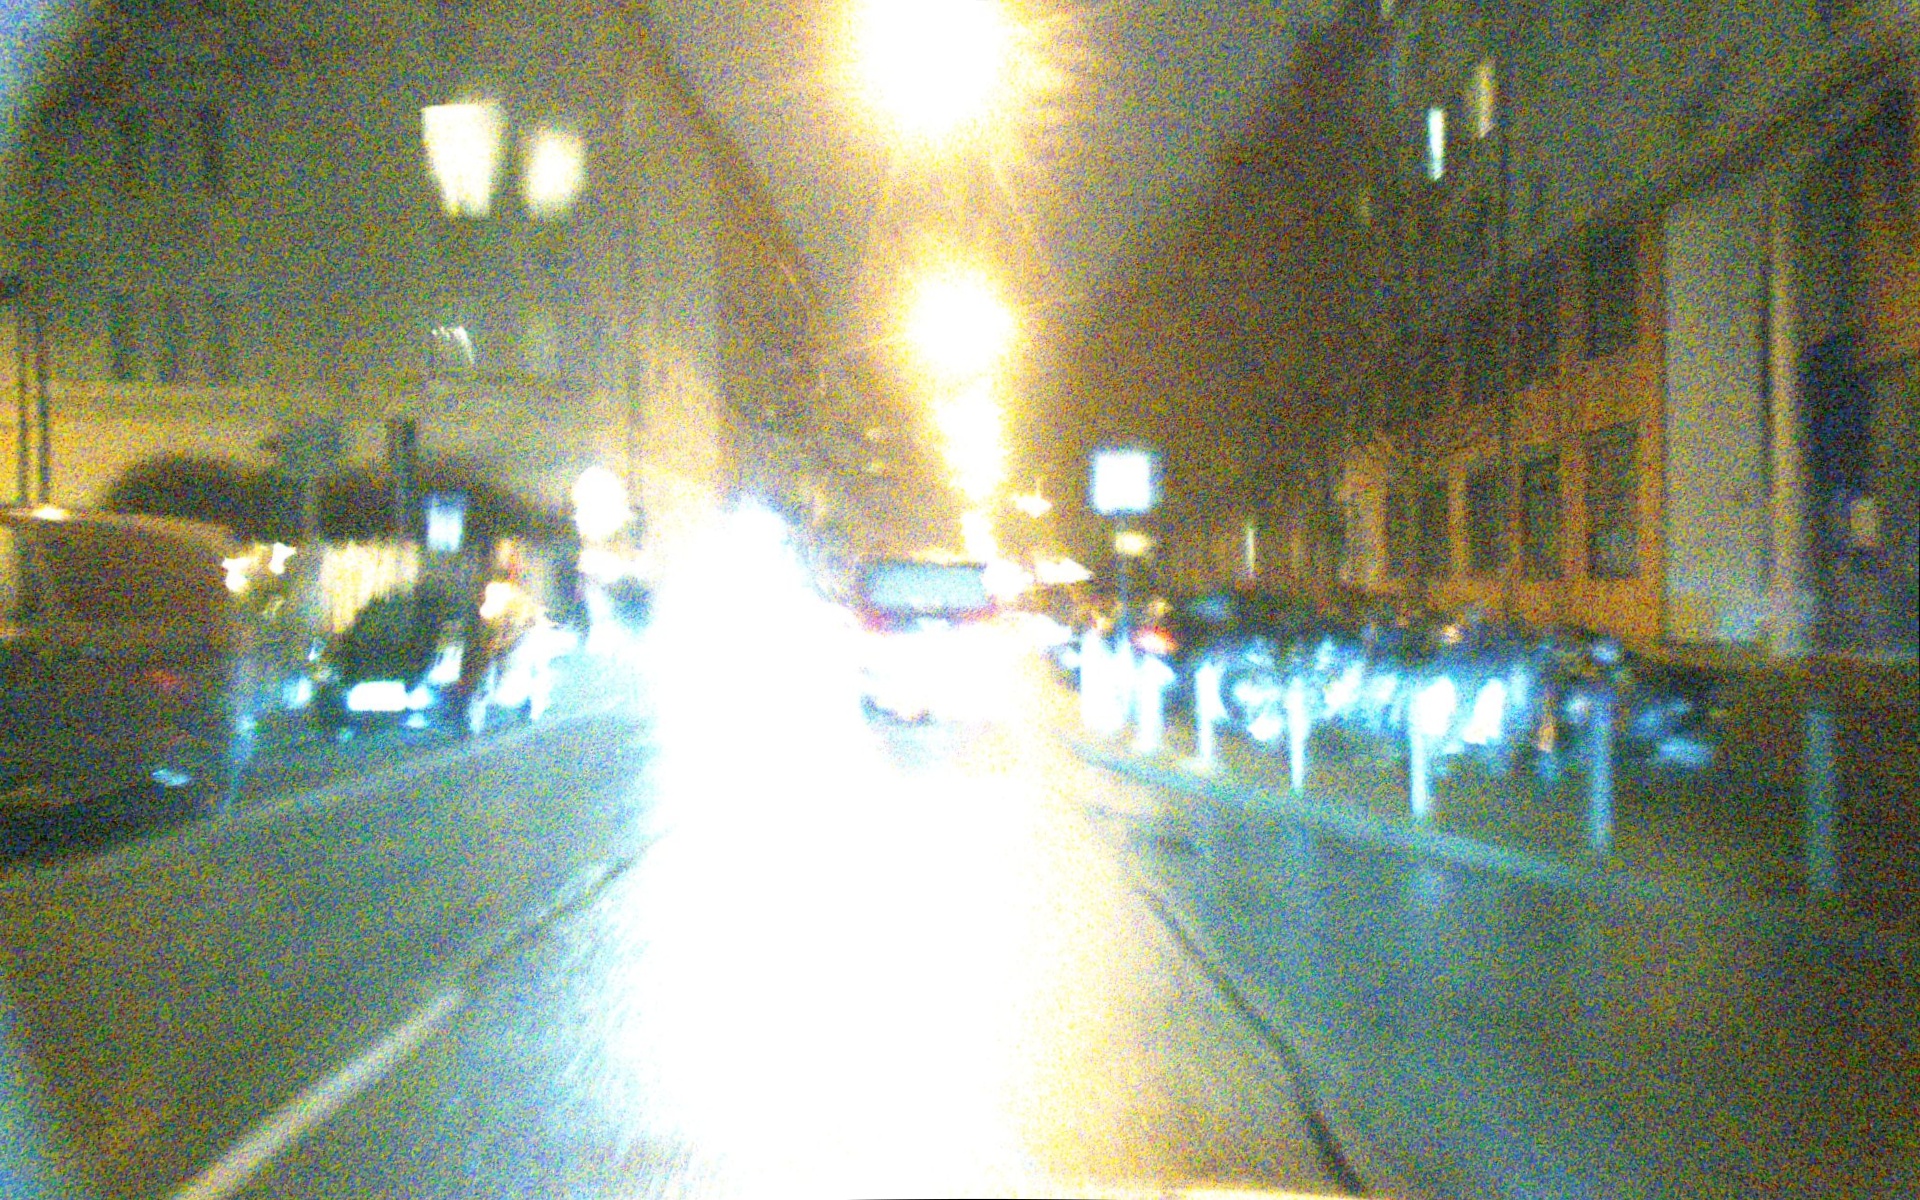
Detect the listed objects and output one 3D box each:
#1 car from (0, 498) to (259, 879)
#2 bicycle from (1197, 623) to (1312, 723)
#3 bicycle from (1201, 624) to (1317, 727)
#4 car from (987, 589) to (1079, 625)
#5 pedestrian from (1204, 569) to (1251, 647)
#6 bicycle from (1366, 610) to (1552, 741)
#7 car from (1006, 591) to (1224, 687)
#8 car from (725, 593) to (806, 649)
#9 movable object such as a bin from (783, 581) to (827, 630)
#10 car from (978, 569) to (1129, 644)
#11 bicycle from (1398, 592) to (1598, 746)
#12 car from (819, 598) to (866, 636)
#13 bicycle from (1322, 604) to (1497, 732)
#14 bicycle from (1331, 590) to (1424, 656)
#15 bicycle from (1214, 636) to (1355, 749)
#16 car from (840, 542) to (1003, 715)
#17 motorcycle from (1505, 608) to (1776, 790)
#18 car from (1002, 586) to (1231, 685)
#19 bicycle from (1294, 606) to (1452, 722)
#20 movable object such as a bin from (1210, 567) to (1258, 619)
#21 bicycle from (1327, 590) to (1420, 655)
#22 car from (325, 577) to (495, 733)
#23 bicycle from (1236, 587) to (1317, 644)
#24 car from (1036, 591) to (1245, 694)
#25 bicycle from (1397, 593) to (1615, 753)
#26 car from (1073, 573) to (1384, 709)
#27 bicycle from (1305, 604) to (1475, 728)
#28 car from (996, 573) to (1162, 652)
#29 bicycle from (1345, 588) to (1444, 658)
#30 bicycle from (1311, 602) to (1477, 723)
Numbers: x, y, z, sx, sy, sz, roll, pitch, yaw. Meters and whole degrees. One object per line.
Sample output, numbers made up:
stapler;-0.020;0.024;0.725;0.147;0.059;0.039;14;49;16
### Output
car;-5.638;0.440;8.624;1.828;1.878;4.827;0;0;1
bicycle;3.073;0.760;17.286;1.109;0.964;0.267;-3;0;-2
bicycle;3.077;0.775;17.021;1.109;0.991;0.249;-2;0;-2
car;3.141;0.296;71.236;3.624;1.486;1.592;-1;0;-24
pedestrian;6.717;0.205;41.585;0.822;1.867;0.946;-4;-1;-4
bicycle;4.534;0.675;15.056;1.564;1.131;0.417;-1;0;-3
car;2.764;0.694;29.663;3.503;1.639;1.702;1;0;-22
car;-5.099;0.522;43.797;1.620;1.383;4.222;1;0;0
movable object such as a bin;-4.883;0.175;52.022;1.183;1.485;1.107;2;0;2
car;3.022;0.183;52.821;4.673;2.287;1.922;-1;0;-36
bicycle;4.561;0.583;14.070;1.546;1.255;0.418;-1;0;2
car;-4.904;0.691;69.438;1.652;1.481;4.315;2;1;0
bicycle;4.344;0.649;16.015;1.564;1.178;0.417;-1;0;-3
bicycle;8.013;0.431;31.746;1.653;1.166;0.428;-3;1;-8
bicycle;2.895;0.818;14.790;1.187;0.964;0.302;-1;0;-3
car;-0.455;0.364;22.109;1.952;2.086;4.000;1;-1;0
motorcycle;4.715;0.664;11.503;1.601;1.143;0.652;-2;0;-7
car;3.040;0.681;32.082;4.041;1.795;1.844;1;0;-25
bicycle;4.393;0.676;17.656;1.561;1.178;0.540;-1;0;8
movable object such as a bin;8.239;-0.205;49.831;1.184;1.476;0.999;-4;0;0
bicycle;8.071;0.433;32.280;1.653;1.166;0.485;-3;1;-8
car;-5.851;0.520;17.804;1.522;1.468;3.546;2;0;-17
bicycle;8.090;0.401;42.324;1.930;1.358;0.783;-3;0;6
car;2.896;0.674;26.673;2.995;1.579;1.495;1;0;-22
bicycle;4.459;0.593;13.552;1.629;1.255;0.385;-1;0;2
car;3.458;0.487;21.274;3.653;1.549;1.644;-2;0;-25
bicycle;4.269;0.647;16.454;1.564;1.178;0.417;-1;0;-3
car;3.141;0.303;43.308;4.199;1.891;1.695;-2;0;-36
bicycle;7.851;0.412;29.913;1.653;1.166;0.428;-3;1;-8
bicycle;4.429;0.628;16.906;1.564;1.178;0.417;-1;0;-3
